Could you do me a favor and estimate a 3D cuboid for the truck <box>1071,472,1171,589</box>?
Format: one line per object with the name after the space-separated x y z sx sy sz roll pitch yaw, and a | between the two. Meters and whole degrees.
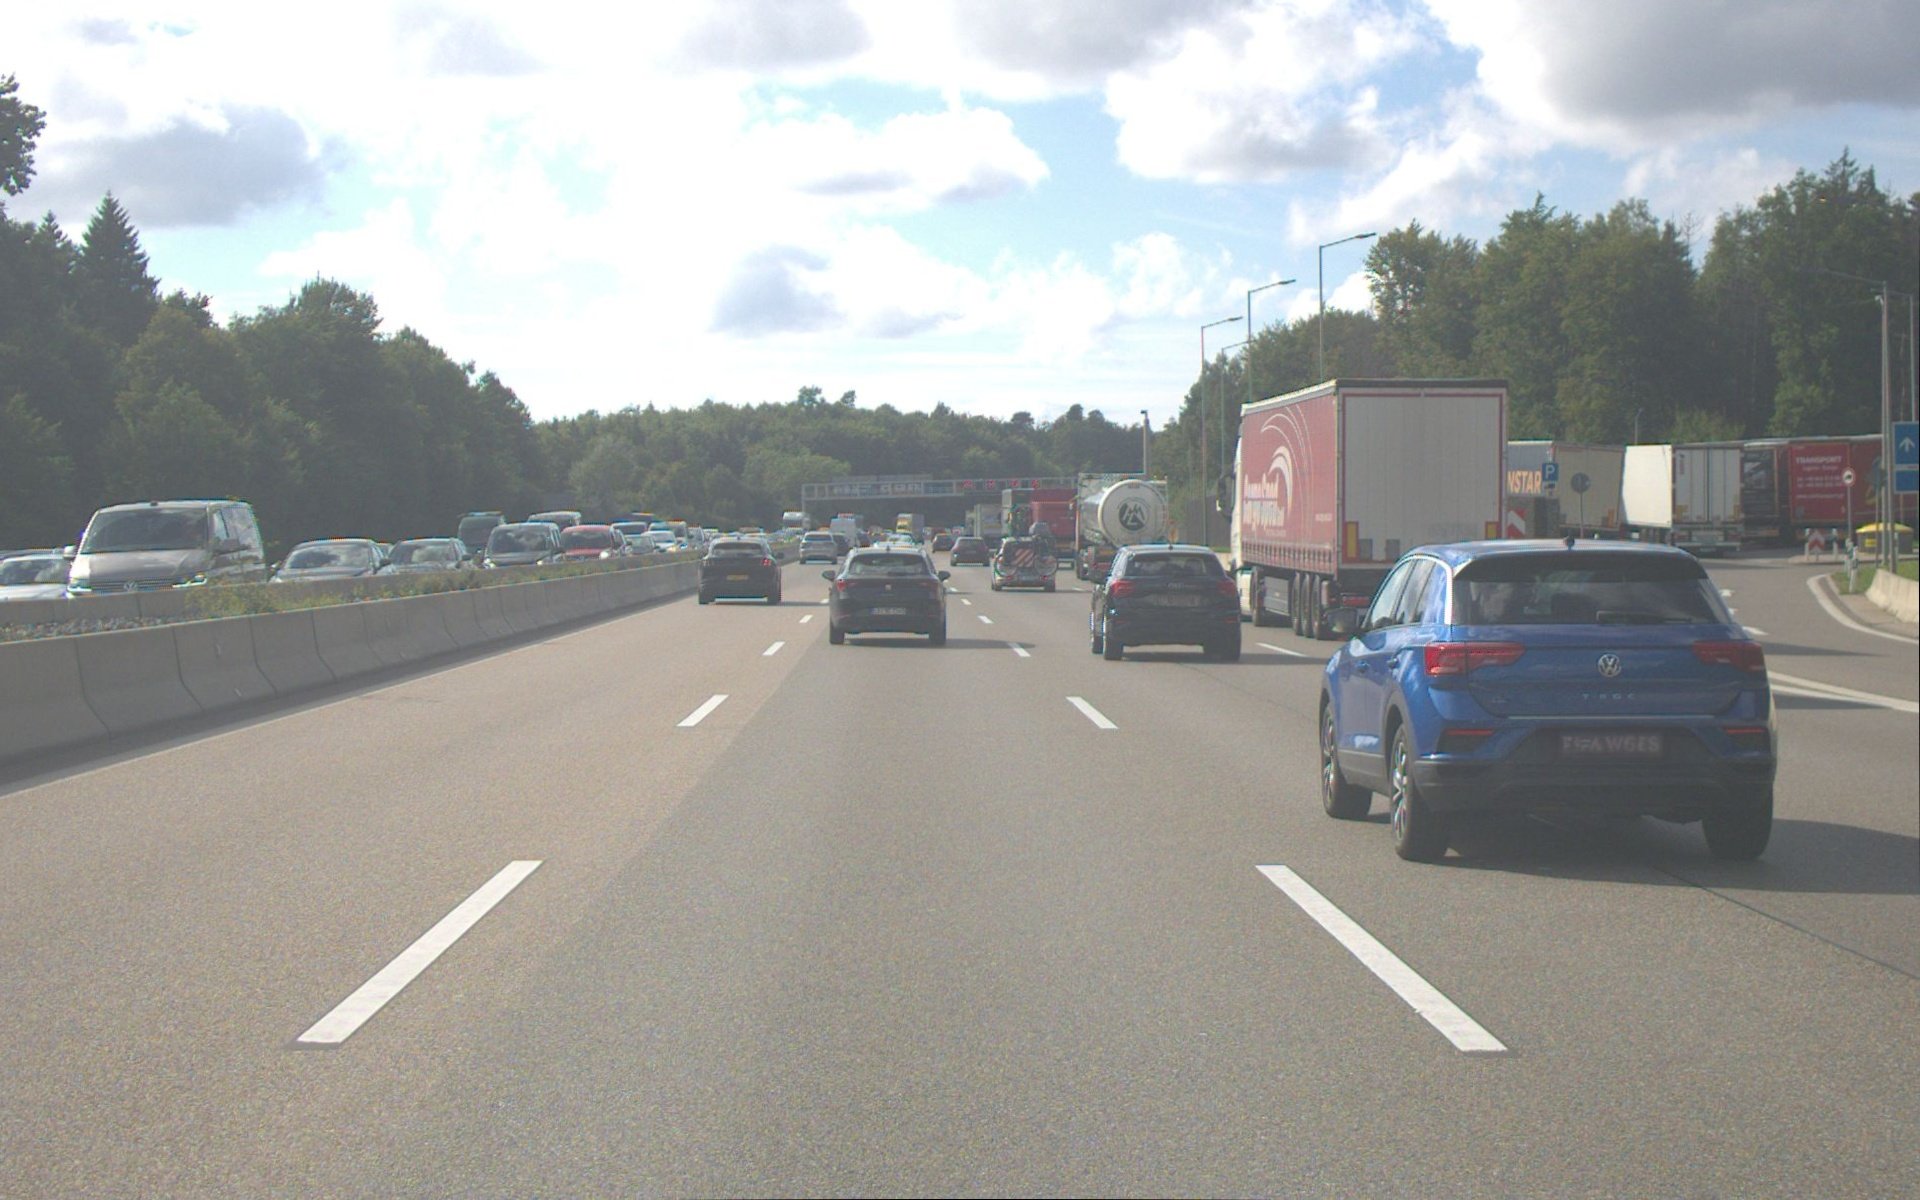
5.809 -2.475 125.095 3.045 4.146 7.127 0 0 -2 | truck

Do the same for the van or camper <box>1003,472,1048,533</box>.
3.591 -5.337 189.074 2.351 3.133 5.710 1 -1 0 | van or camper

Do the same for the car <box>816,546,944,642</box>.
-1.241 -0.100 51.787 1.734 1.360 4.001 1 0 -4 | car

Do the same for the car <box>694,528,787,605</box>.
-5.234 -0.816 82.309 1.993 1.770 4.000 0 1 -1 | car

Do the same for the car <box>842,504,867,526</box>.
-7.541 -6.068 245.819 1.623 1.465 3.815 1 1 0 | car

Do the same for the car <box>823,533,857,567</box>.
-7.201 -3.032 206.605 1.993 2.007 4.000 0 1 -1 | car

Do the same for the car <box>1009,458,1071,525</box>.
3.823 -5.187 165.208 2.866 2.981 5.149 1 -1 0 | car

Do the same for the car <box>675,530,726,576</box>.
-11.985 -2.146 159.196 1.993 2.007 4.677 1 -1 0 | car

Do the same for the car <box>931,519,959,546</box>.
-1.168 -5.130 262.691 1.993 2.007 4.000 1 1 -1 | car

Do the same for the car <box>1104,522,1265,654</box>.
2.939 -0.162 45.704 1.799 1.639 4.000 1 0 -1 | car

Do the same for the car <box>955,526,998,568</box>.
0.805 -2.604 169.205 1.993 2.007 4.000 1 0 -1 | car

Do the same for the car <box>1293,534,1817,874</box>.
2.918 0.453 17.890 1.924 1.536 4.645 0 0 0 | car

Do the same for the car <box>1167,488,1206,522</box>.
13.815 -5.785 209.987 1.993 2.007 4.000 -1 1 -1 | car

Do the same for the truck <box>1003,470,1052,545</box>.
3.549 -4.833 182.581 2.358 3.560 11.266 1 0 0 | truck

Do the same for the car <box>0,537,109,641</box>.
-18.665 -0.208 69.096 1.993 2.007 4.458 1 -1 0 | car

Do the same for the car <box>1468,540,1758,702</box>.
6.476 0.187 34.533 1.715 1.506 4.303 -1 0 -5 | car

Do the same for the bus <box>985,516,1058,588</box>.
1.780 -1.377 100.249 1.993 2.007 4.000 1 -1 -1 | bus

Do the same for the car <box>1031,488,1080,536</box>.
4.275 -3.931 154.579 1.993 2.007 4.000 1 -1 -1 | car

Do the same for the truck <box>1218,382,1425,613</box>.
6.668 -1.807 64.251 3.080 4.050 6.070 1 -1 -1 | truck

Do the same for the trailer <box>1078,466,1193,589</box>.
5.983 -2.408 118.951 3.036 4.002 12.246 0 0 -1 | trailer

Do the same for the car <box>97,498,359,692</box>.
-7.642 -0.102 36.253 1.993 1.914 4.001 1 2 -2 | car

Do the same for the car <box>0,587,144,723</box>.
-14.309 0.815 53.797 1.993 2.007 4.459 1 0 0 | car

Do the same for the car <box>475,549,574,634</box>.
-10.648 -0.182 84.340 1.816 2.007 4.452 1 -1 0 | car

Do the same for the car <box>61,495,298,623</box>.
-10.150 -0.562 45.067 1.993 1.567 4.815 1 1 0 | car

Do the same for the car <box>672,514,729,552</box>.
-11.276 -2.934 149.735 1.993 1.567 5.329 2 1 0 | car

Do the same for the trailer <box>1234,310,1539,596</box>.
6.804 -2.156 57.267 3.038 4.021 13.890 1 0 -1 | trailer

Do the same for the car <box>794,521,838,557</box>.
-7.433 -3.151 177.780 2.154 1.770 4.000 1 0 -1 | car
